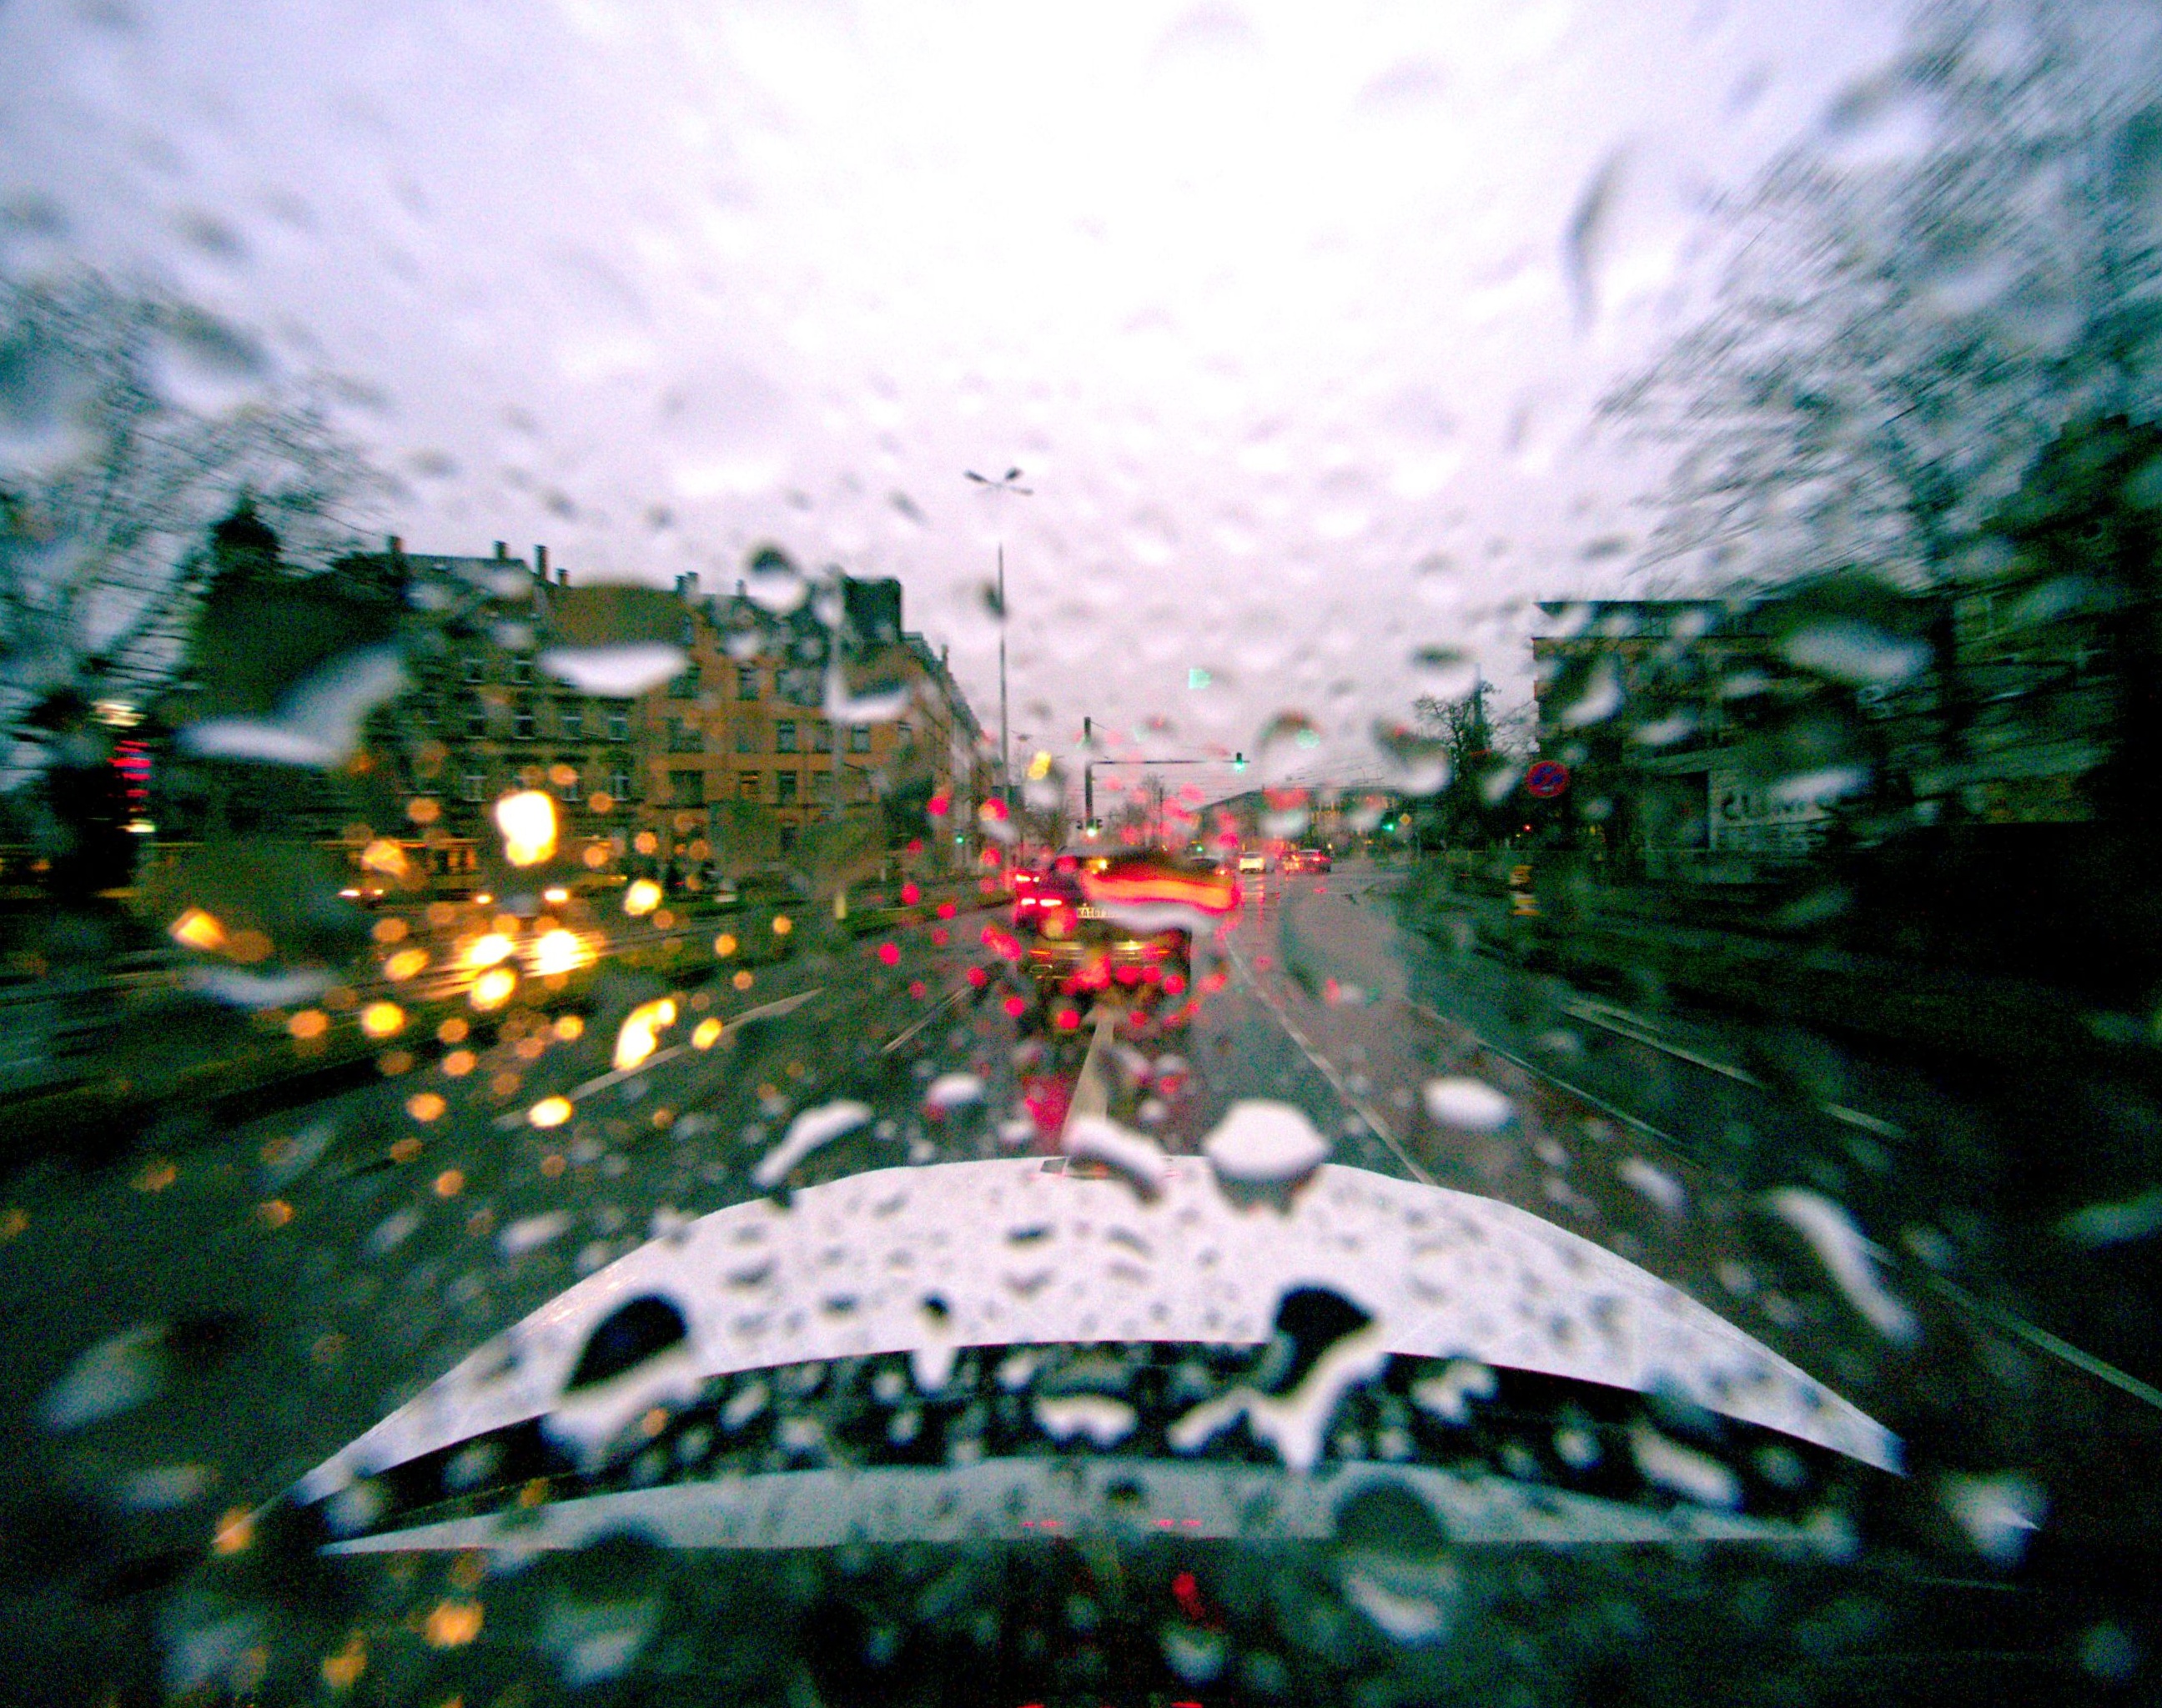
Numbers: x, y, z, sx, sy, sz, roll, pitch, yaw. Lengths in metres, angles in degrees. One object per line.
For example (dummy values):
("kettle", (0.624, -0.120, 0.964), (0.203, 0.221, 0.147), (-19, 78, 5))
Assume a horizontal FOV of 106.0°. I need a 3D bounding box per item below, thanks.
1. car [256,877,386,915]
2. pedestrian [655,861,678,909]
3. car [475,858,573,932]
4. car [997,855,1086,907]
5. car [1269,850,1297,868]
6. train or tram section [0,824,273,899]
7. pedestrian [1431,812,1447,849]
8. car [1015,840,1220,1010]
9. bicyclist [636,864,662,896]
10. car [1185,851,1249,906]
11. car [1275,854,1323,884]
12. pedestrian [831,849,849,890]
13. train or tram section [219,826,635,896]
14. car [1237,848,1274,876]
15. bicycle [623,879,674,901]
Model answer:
("car", (-31.425, 1.721, 33.754), (3.825, 1.450, 1.649), (-1, 0, 0))
("pedestrian", (-15.665, 1.165, 30.790), (0.627, 1.792, 0.529), (-1, 0, -15))
("car", (-17.063, 1.213, 24.854), (2.010, 1.946, 4.798), (-3, 0, -39))
("car", (-1.094, 0.762, 24.811), (1.983, 1.398, 4.009), (-2, 0, 7))
("car", (16.494, 0.376, 66.303), (1.847, 1.409, 3.963), (-2, 0, 19))
("train or tram section", (-44.902, 0.321, 37.357), (11.121, 3.237, 3.157), (0, 0, -12))
("pedestrian", (18.306, -1.193, 41.656), (0.567, 1.838, 0.687), (-5, 0, 26))
("car", (0.365, 0.694, 10.049), (1.984, 1.616, 4.000), (-2, 0, 0))
("bicyclist", (-19.194, 1.129, 36.175), (0.972, 1.390, 0.501), (-1, 0, -30))
("car", (4.908, 0.824, 29.073), (1.980, 1.765, 4.014), (-2, 0, 13))
("car", (13.797, 0.931, 51.336), (1.974, 1.765, 4.025), (-2, 0, 29))
("pedestrian", (-10.536, 0.659, 35.586), (0.463, 1.772, 0.632), (-1, -1, 19))
("train or tram section", (-31.475, 0.311, 40.194), (16.264, 3.188, 3.157), (0, 0, -12))
("car", (11.958, 0.519, 55.713), (1.977, 1.765, 4.020), (-2, 0, 19))
("bicycle", (-19.194, 1.579, 36.173), (1.991, 0.900, 0.501), (-1, 0, -30))
